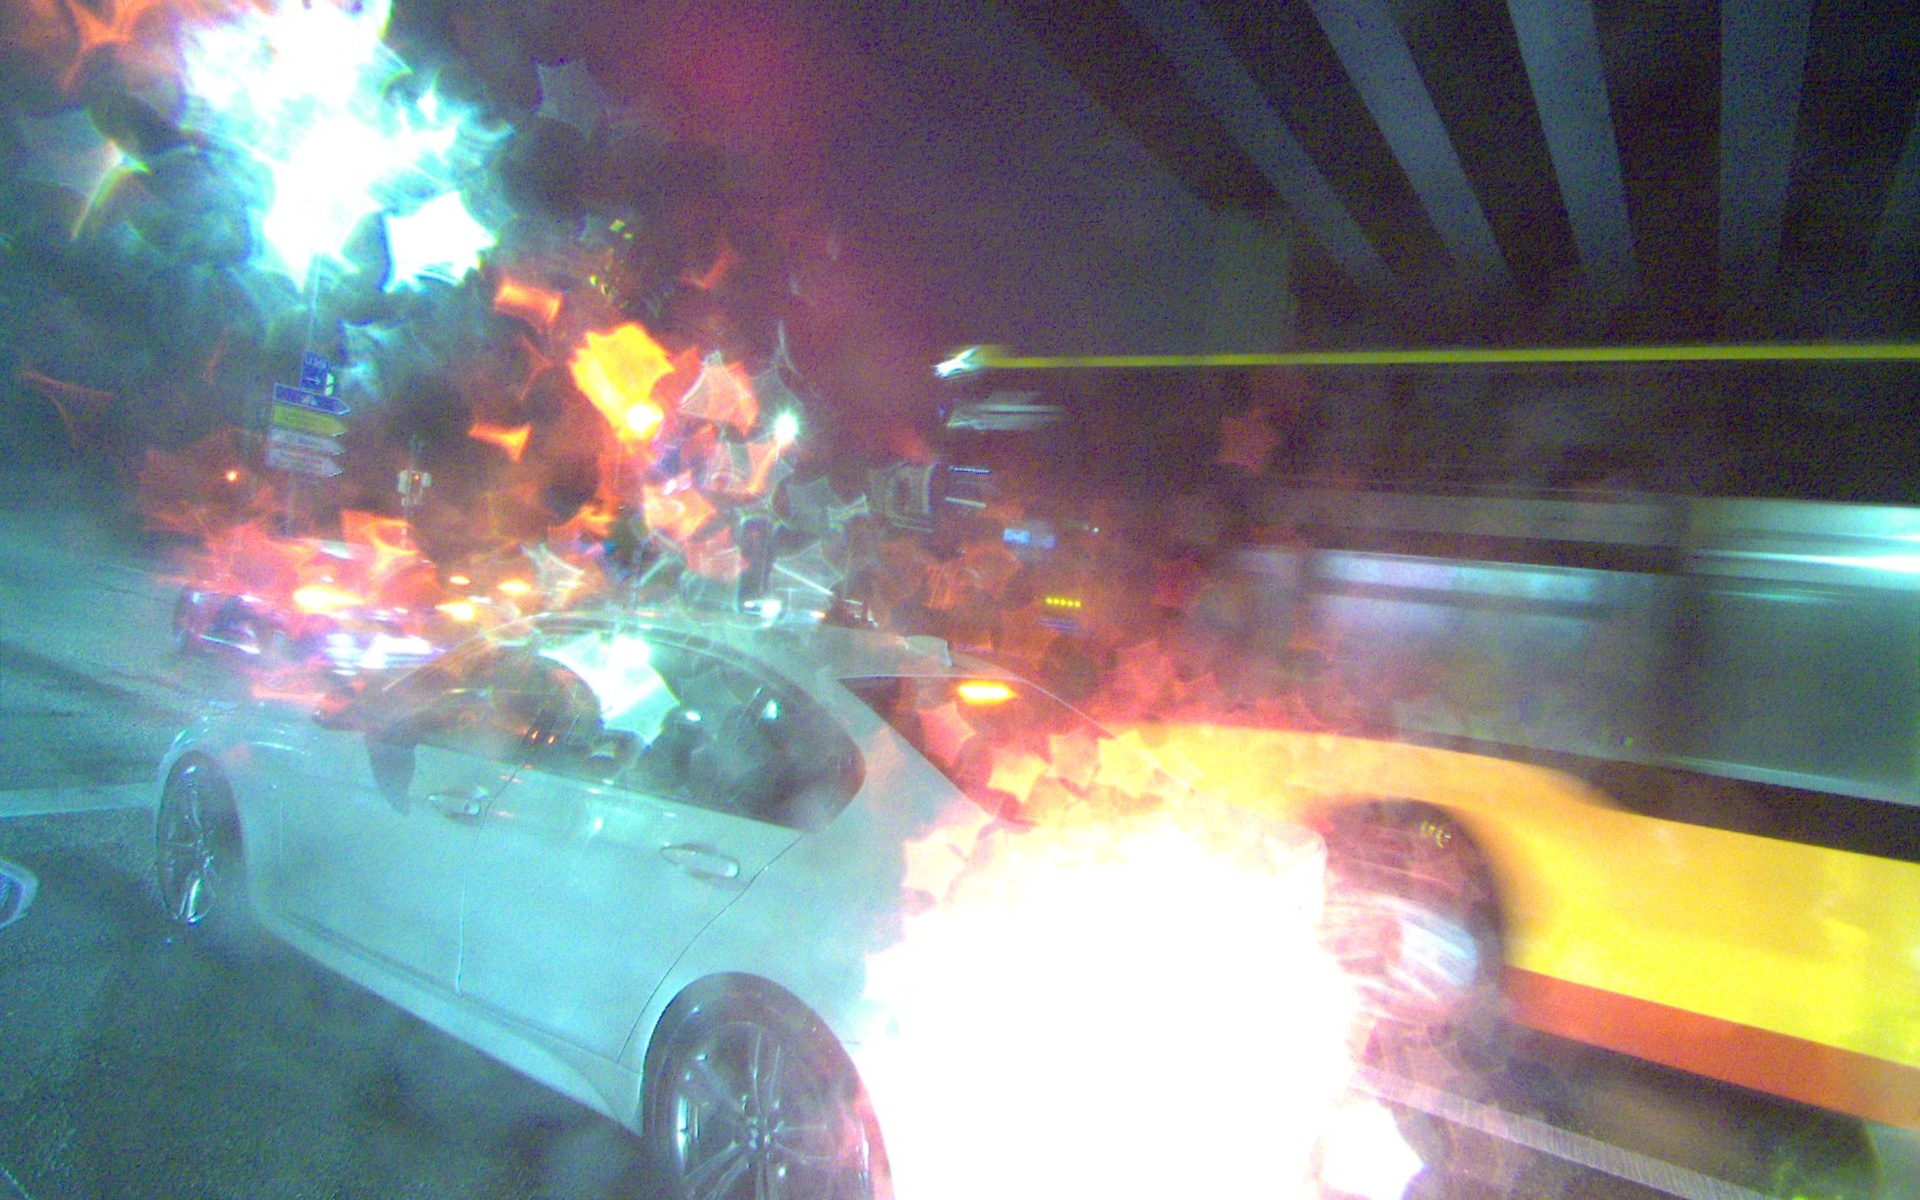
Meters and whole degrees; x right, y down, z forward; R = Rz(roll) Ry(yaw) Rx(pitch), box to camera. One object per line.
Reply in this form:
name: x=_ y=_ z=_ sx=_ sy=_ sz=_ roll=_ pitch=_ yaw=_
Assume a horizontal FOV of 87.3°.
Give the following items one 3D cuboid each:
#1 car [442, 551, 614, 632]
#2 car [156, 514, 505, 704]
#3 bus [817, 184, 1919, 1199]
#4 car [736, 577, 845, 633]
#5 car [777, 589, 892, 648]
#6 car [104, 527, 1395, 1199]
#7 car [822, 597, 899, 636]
car: x=-9.585 y=-0.097 z=22.779 sx=1.725 sy=1.406 sz=4.569 roll=8 pitch=-2 yaw=1
car: x=-6.714 y=0.059 z=10.627 sx=3.701 sy=1.448 sz=1.751 roll=8 pitch=-1 yaw=36
bus: x=4.316 y=0.480 z=3.955 sx=9.593 sy=3.160 sz=2.776 roll=7 pitch=-1 yaw=28
car: x=-7.803 y=0.279 z=46.844 sx=1.967 sy=2.008 sz=5.100 roll=7 pitch=-1 yaw=31
car: x=-4.134 y=0.654 z=33.541 sx=1.615 sy=1.475 sz=3.582 roll=6 pitch=-3 yaw=39
car: x=-0.979 y=0.703 z=3.508 sx=4.277 sy=1.420 sz=1.720 roll=6 pitch=-2 yaw=32
car: x=-5.463 y=0.950 z=55.687 sx=1.767 sy=1.699 sz=4.419 roll=7 pitch=-1 yaw=32
